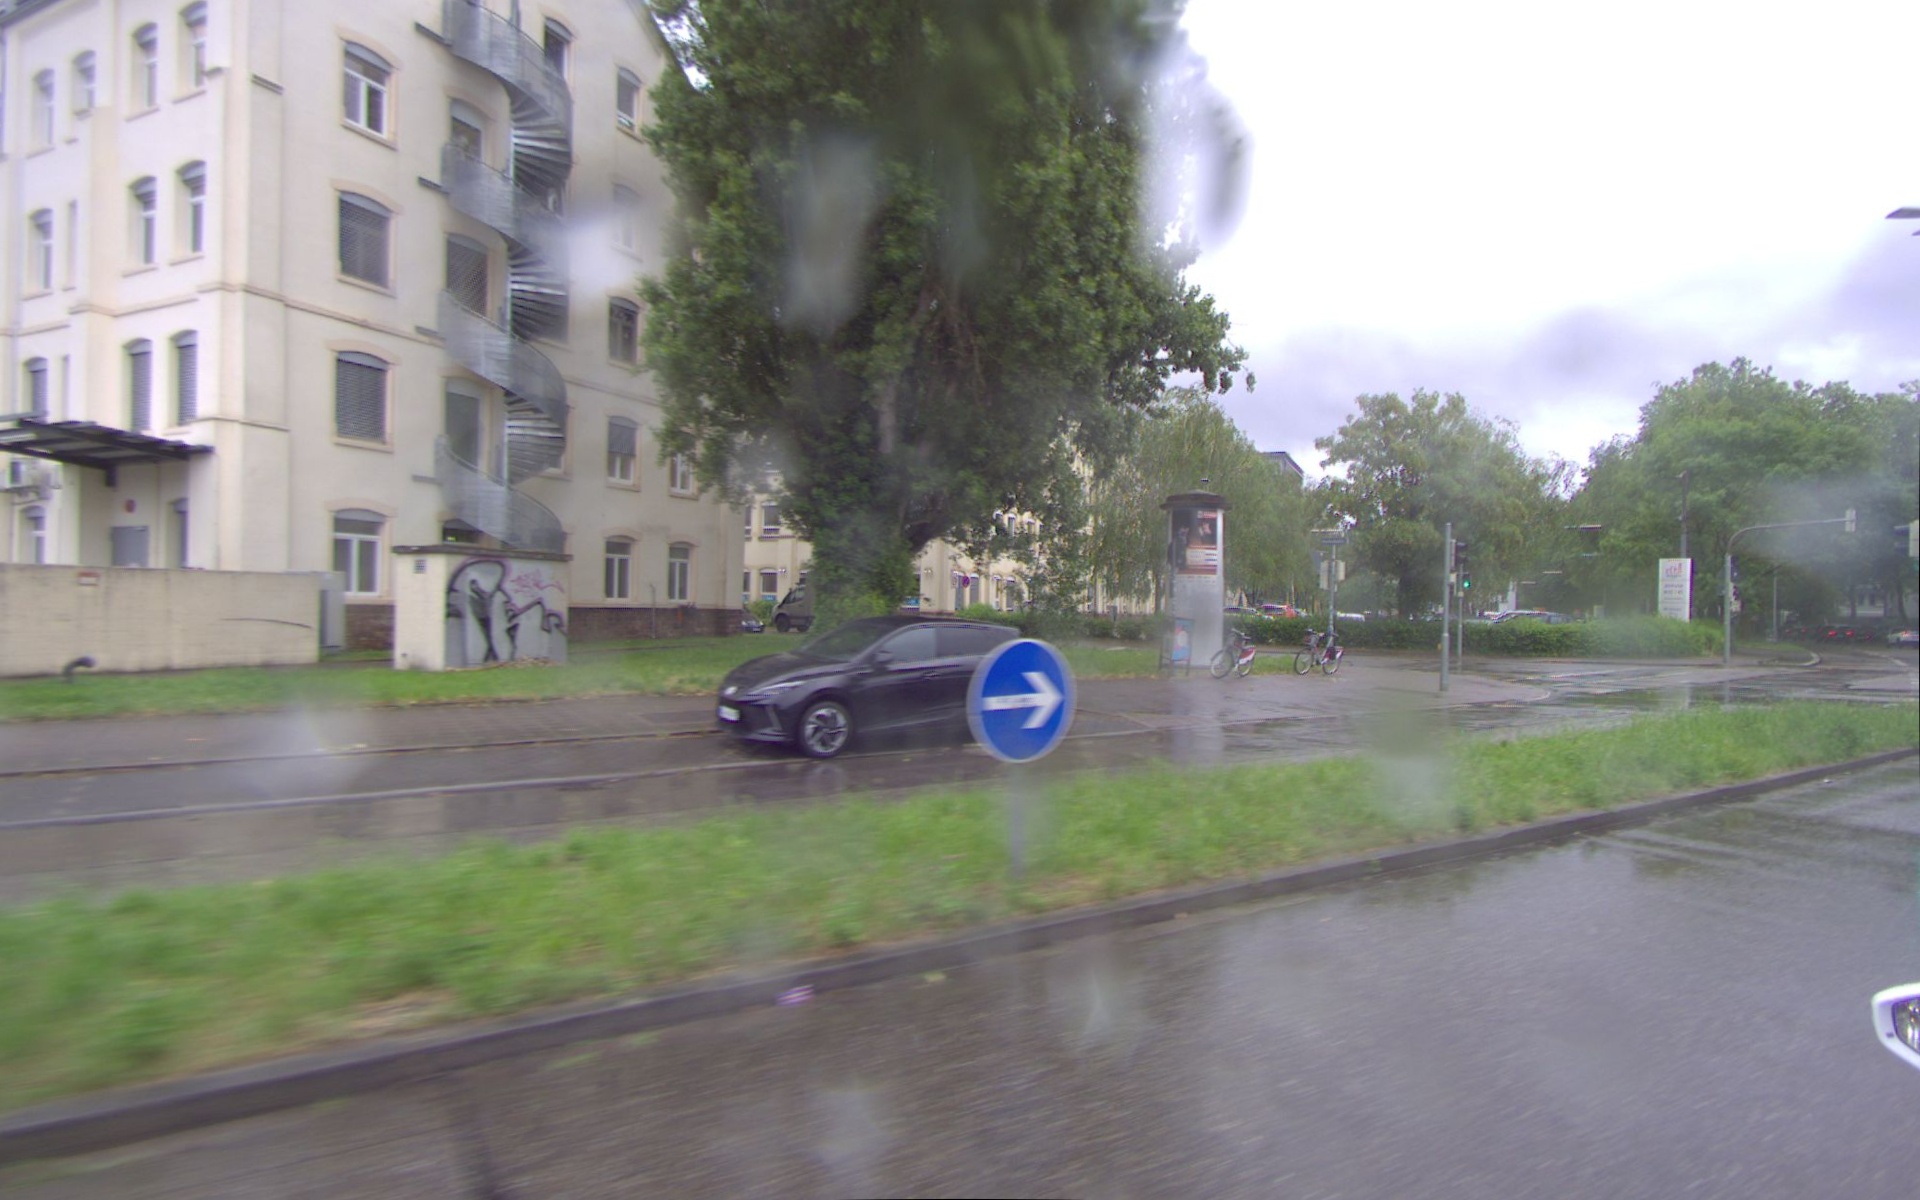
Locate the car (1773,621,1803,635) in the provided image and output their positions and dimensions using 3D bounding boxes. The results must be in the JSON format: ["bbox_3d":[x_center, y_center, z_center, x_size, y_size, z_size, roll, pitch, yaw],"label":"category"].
[{"bbox_3d":[87.605,2.950,106.330,1.680,1.430,3.639,-1,-1,28],"label":"car"}]

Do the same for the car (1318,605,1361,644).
[{"bbox_3d":[17.400,1.104,45.988,1.748,1.708,4.024,1,-1,21],"label":"car"}]

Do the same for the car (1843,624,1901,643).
[{"bbox_3d":[85.621,3.144,94.359,3.791,1.720,1.837,-1,0,0],"label":"car"}]

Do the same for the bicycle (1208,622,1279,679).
[{"bbox_3d":[6.315,1.117,22.382,1.610,1.202,0.691,2,0,-39],"label":"bicycle"}]

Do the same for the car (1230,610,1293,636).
[{"bbox_3d":[20.863,1.553,69.456,3.925,1.708,1.998,1,-1,26],"label":"car"}]

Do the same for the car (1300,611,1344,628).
[{"bbox_3d":[36.237,1.956,100.457,3.926,1.580,1.998,1,-1,27],"label":"car"}]

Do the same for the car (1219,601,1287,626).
[{"bbox_3d":[18.923,0.887,64.883,3.925,1.539,1.998,1,-1,26],"label":"car"}]

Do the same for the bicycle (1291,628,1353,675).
[{"bbox_3d":[8.826,1.249,24.449,1.780,1.091,0.551,2,0,-39],"label":"bicycle"}]

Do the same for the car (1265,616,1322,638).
[{"bbox_3d":[25.938,2.081,78.120,3.926,1.580,2.162,1,-1,27],"label":"car"}]

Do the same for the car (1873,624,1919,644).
[{"bbox_3d":[69.683,2.507,74.776,1.680,1.430,3.639,-1,-1,28],"label":"car"}]

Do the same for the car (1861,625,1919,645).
[{"bbox_3d":[84.901,3.187,91.389,3.921,1.623,2.036,2,0,1],"label":"car"}]

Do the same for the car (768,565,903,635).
[{"bbox_3d":[-6.226,-0.043,50.198,6.100,3.236,2.836,2,0,26],"label":"car"}]

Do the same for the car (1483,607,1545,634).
[{"bbox_3d":[41.875,1.530,76.044,3.924,1.857,1.853,2,0,25],"label":"car"}]

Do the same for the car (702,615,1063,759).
[{"bbox_3d":[-0.846,0.968,12.213,4.152,1.416,1.534,2,1,-35],"label":"car"}]

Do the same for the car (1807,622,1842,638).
[{"bbox_3d":[79.667,2.742,92.608,1.680,1.430,3.639,-1,-1,28],"label":"car"}]

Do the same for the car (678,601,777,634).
[{"bbox_3d":[-10.412,0.765,44.970,4.021,1.286,1.905,2,0,27],"label":"car"}]
